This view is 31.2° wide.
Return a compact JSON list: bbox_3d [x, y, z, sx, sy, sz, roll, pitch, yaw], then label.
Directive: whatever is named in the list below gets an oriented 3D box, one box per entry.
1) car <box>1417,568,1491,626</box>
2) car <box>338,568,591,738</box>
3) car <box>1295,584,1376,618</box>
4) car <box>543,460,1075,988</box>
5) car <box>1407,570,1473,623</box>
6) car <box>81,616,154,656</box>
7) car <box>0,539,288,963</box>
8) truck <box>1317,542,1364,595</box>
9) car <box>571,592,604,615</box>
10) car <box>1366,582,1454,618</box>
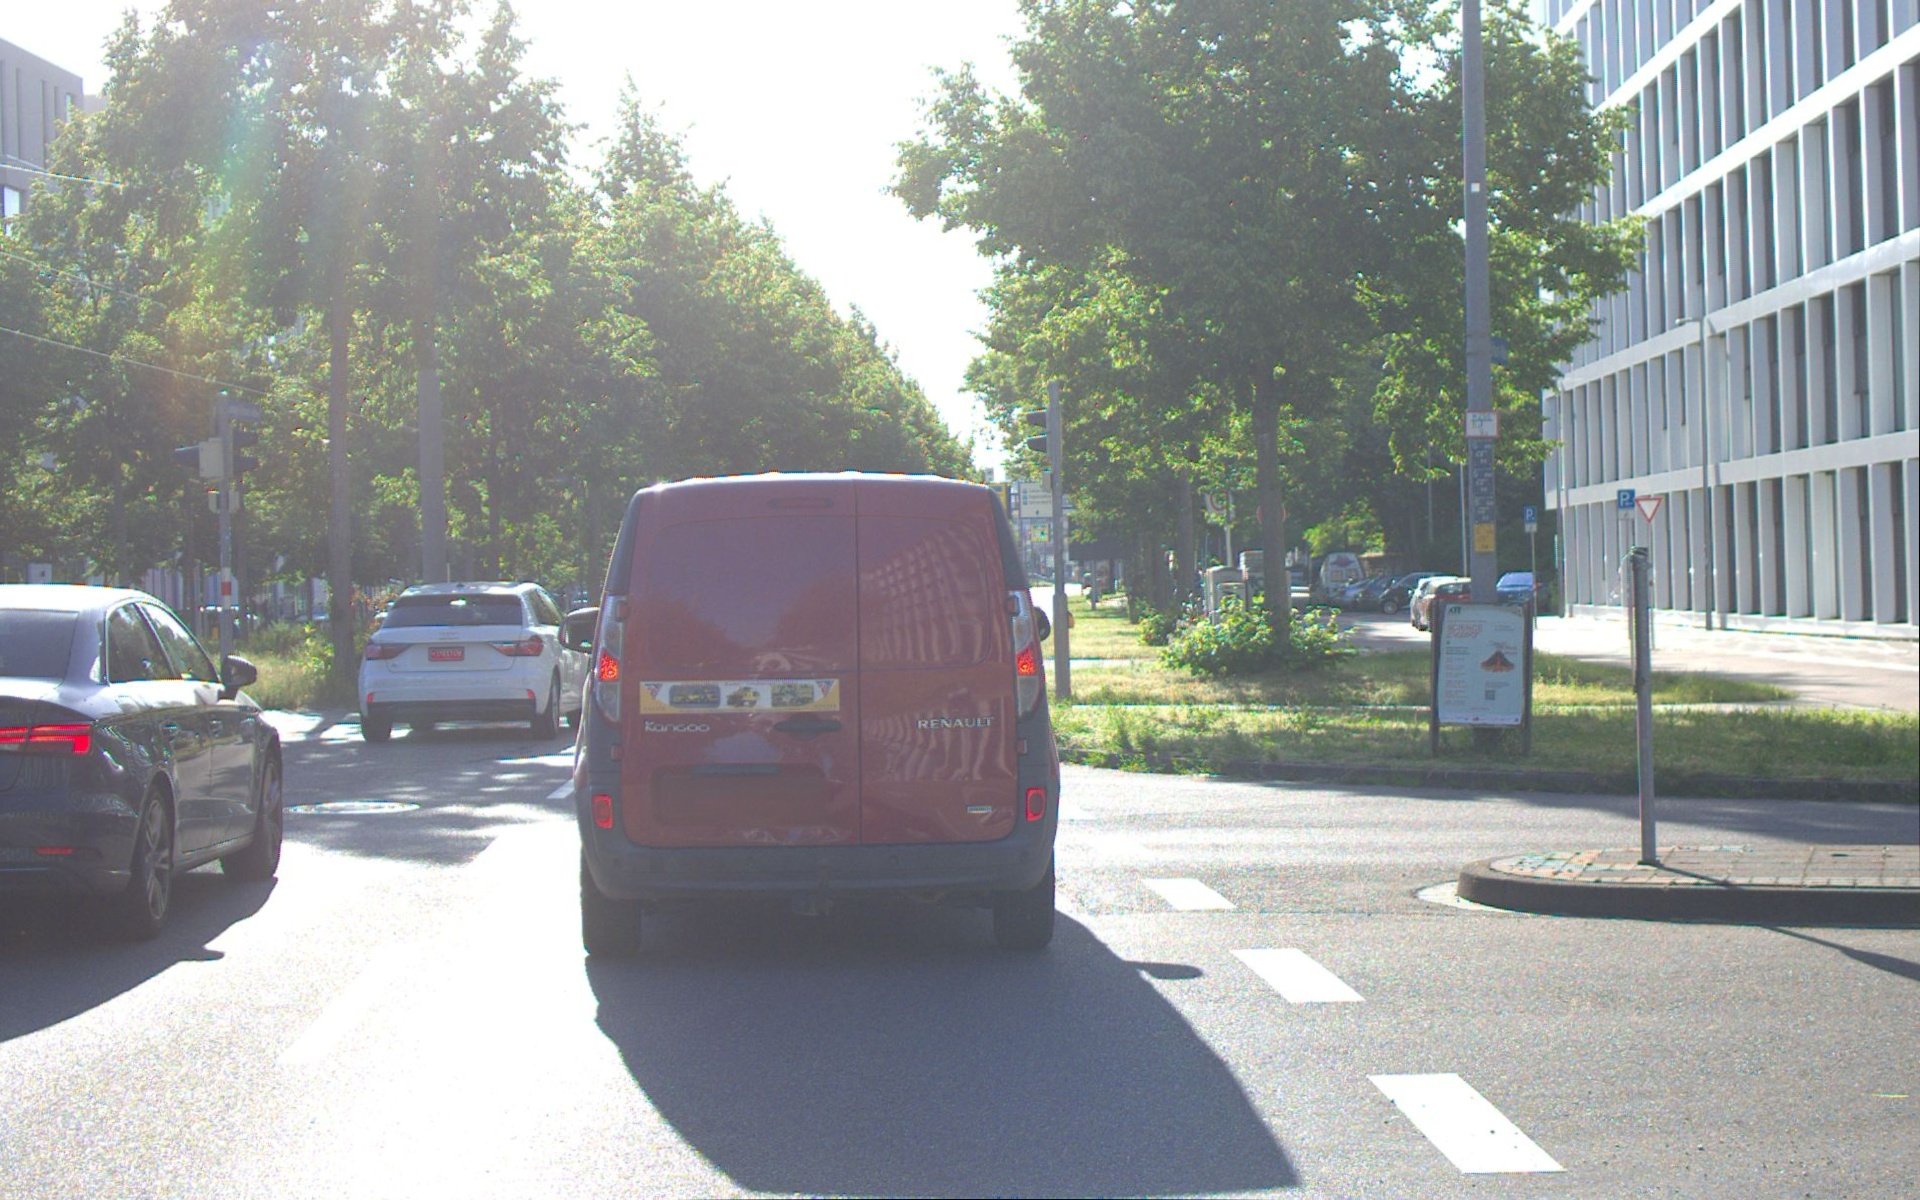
[{"bbox_3d":[14.119,-0.097,98.371,1.758,1.606,3.903,-1,1,4],"label":"car"},{"bbox_3d":[-4.505,0.440,31.783,1.808,1.430,4.113,-1,1,-1],"label":"car"},{"bbox_3d":[16.295,0.038,149.161,3.400,1.354,1.470,-1,0,9],"label":"car"},{"bbox_3d":[-0.655,0.409,14.000,1.808,1.788,4.113,-1,1,-4],"label":"car"},{"bbox_3d":[14.445,-0.127,103.565,1.820,1.527,3.436,-1,0,6],"label":"car"},{"bbox_3d":[-29.970,1.261,122.353,1.580,1.338,3.712,-1,0,2],"label":"car"},{"bbox_3d":[-4.053,0.544,14.462,1.808,1.522,4.113,-1,1,-3],"label":"car"},{"bbox_3d":[18.703,-1.529,169.157,1.832,2.492,5.932,-1,0,2],"label":"truck"},{"bbox_3d":[-25.867,0.249,238.835,1.755,1.568,4.000,-1,0,2],"label":"car"},{"bbox_3d":[17.964,0.013,137.262,3.400,1.354,1.470,-1,0,9],"label":"car"}]
